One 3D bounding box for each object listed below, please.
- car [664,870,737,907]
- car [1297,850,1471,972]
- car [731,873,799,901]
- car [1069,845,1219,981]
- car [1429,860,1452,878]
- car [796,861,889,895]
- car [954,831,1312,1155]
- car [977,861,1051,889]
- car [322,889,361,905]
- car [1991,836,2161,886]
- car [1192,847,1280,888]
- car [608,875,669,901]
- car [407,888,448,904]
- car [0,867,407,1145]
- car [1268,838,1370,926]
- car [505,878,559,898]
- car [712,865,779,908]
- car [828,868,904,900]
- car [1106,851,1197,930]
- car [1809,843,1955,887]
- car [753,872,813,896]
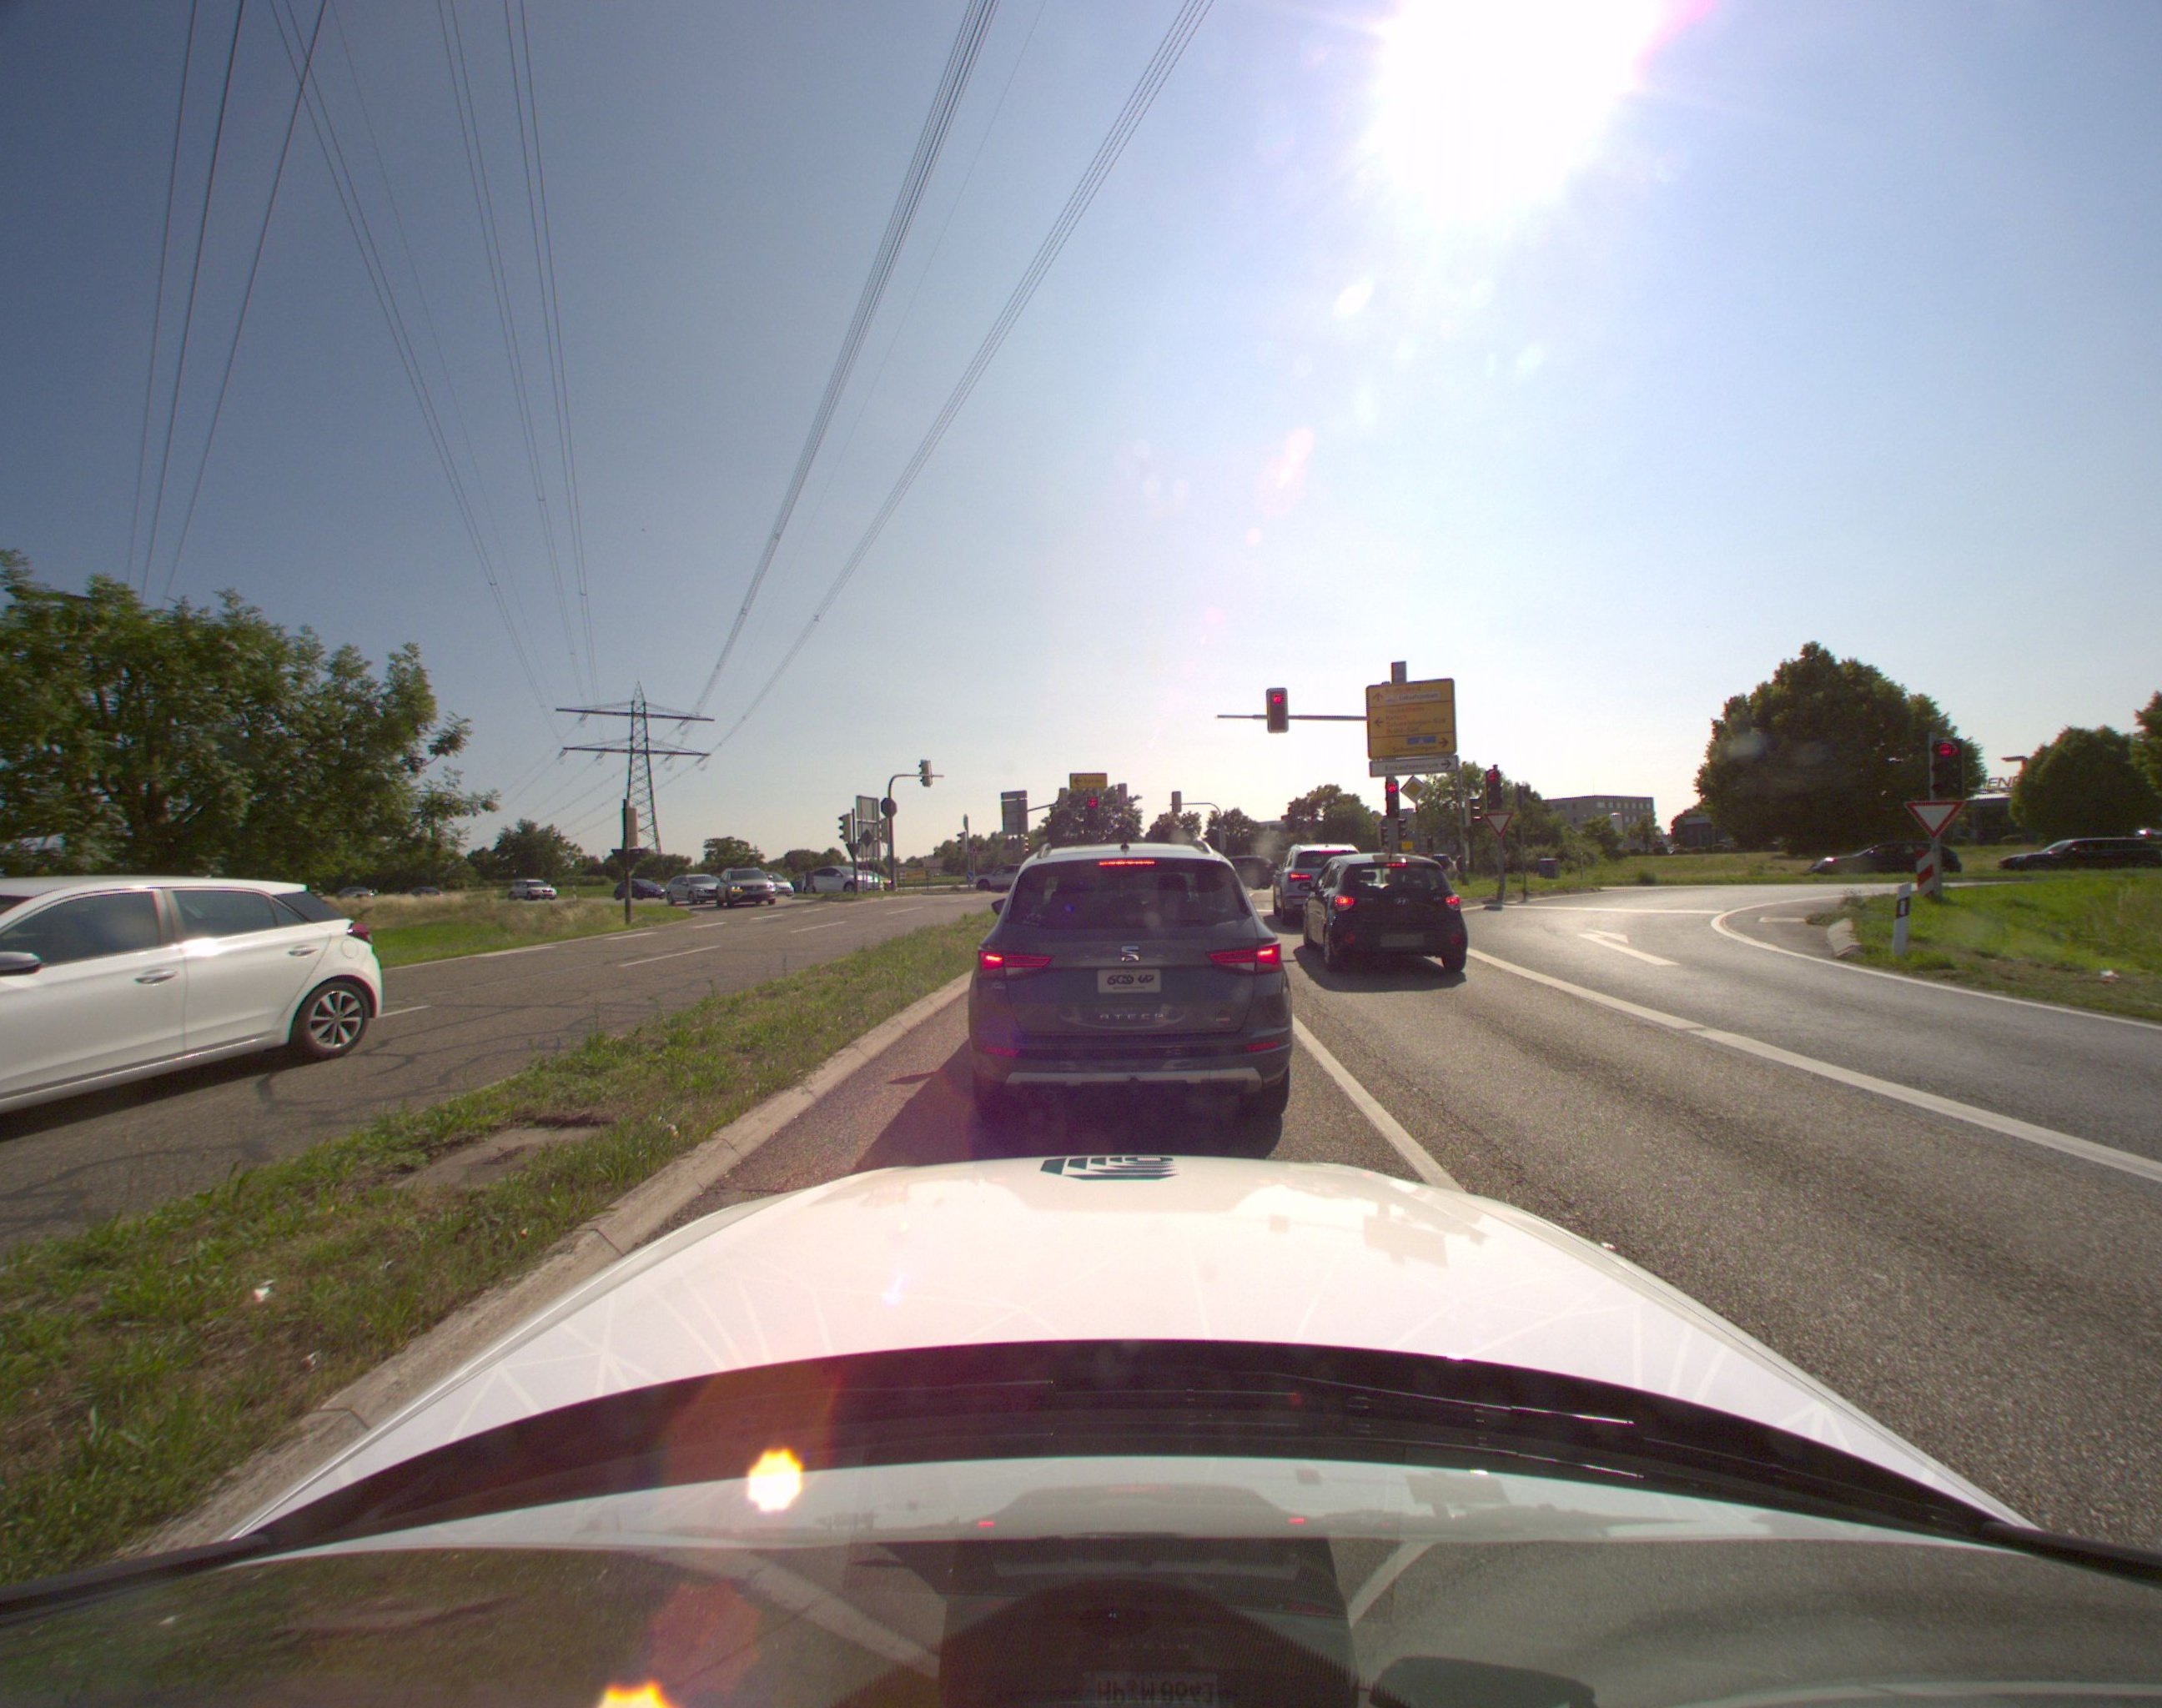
[{"bbox_3d":[-18.686,1.677,39.939,3.949,1.651,1.831,-2,-1,42],"label":"car"},{"bbox_3d":[4.041,0.682,11.365,1.623,1.448,3.303,-1,0,9],"label":"car"},{"bbox_3d":[-19.627,2.055,50.531,3.949,1.651,1.831,-2,-1,29],"label":"car"},{"bbox_3d":[0.815,0.699,11.254,1.735,1.569,3.626,0,-1,3],"label":"car"},{"bbox_3d":[35.832,1.464,81.089,1.859,1.673,3.792,0,-1,27],"label":"car"},{"bbox_3d":[-12.477,1.271,42.480,4.700,1.651,1.831,-2,-1,29],"label":"car"},{"bbox_3d":[0.306,0.691,5.776,1.735,1.569,3.625,0,-1,2],"label":"car"},{"bbox_3d":[-3.977,1.241,48.152,3.986,1.519,1.818,-2,-1,27],"label":"car"},{"bbox_3d":[-72.982,4.216,80.363,3.948,1.486,1.832,0,-1,32],"label":"car"},{"bbox_3d":[36.440,0.268,29.741,3.835,1.695,1.838,-2,-1,30],"label":"car"},{"bbox_3d":[7.785,0.703,41.054,3.970,1.953,1.706,-2,-1,27],"label":"car"},{"bbox_3d":[-30.739,2.352,56.575,3.949,1.651,1.831,-2,-1,29],"label":"car"},{"bbox_3d":[-67.394,4.323,83.983,3.831,1.519,1.818,-2,-1,27],"label":"car"},{"bbox_3d":[-6.663,0.851,5.027,1.712,1.465,3.912,-1,0,0],"label":"car"},{"bbox_3d":[5.009,0.558,17.577,1.623,1.677,3.758,-1,0,9],"label":"car"},{"bbox_3d":[-42.605,2.618,63.167,3.949,1.486,1.831,0,-1,28],"label":"car"},{"bbox_3d":[-14.139,1.327,34.181,1.827,1.651,3.958,-1,-1,-34],"label":"car"},{"bbox_3d":[-12.129,1.698,45.988,3.949,1.651,1.831,-2,-1,29],"label":"car"},{"bbox_3d":[1.566,0.713,17.361,1.732,1.484,3.631,0,-1,7],"label":"car"},{"bbox_3d":[28.903,0.386,29.530,3.500,1.516,1.471,0,-1,29],"label":"car"},{"bbox_3d":[-21.057,2.108,57.547,3.832,1.519,1.818,-2,-1,25],"label":"car"}]
